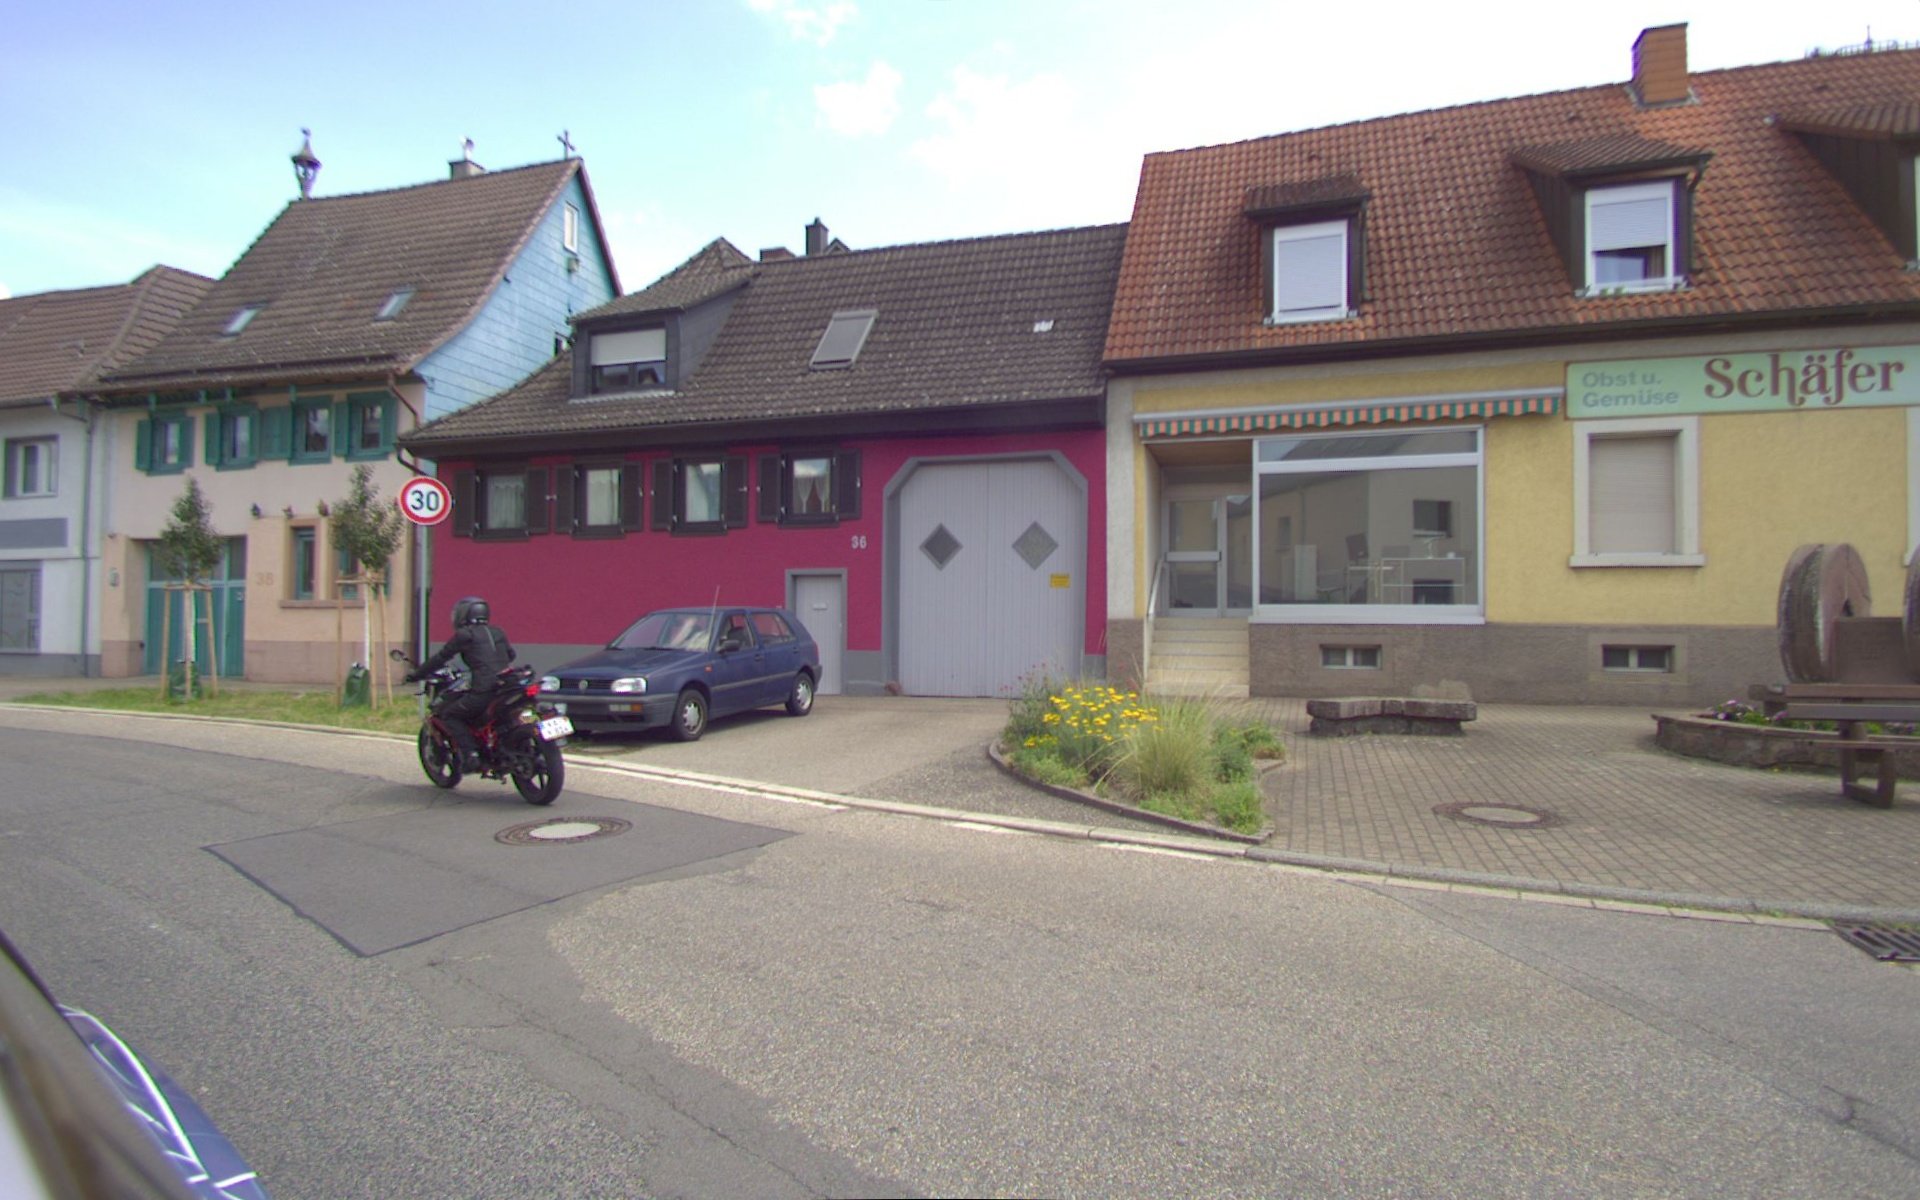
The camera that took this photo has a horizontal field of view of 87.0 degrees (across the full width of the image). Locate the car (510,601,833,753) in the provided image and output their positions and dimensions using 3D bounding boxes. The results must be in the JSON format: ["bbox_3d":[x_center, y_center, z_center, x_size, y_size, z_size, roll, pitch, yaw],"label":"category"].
[{"bbox_3d":[-3.175,0.758,11.994,1.708,1.475,3.953,0,0,20],"label":"car"}]

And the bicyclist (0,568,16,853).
[{"bbox_3d":[-6.256,0.654,5.905,0.758,1.701,0.901,1,0,30],"label":"bicyclist"}]

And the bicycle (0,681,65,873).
[{"bbox_3d":[-6.178,1.011,5.864,1.916,1.019,0.925,-2,-1,30],"label":"bicycle"}]

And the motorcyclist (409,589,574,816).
[{"bbox_3d":[-3.524,0.720,7.616,0.807,1.566,0.887,-2,-2,42],"label":"motorcyclist"}]

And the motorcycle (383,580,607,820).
[{"bbox_3d":[-3.556,0.686,7.648,1.967,1.573,0.870,-2,-2,43],"label":"motorcycle"}]
